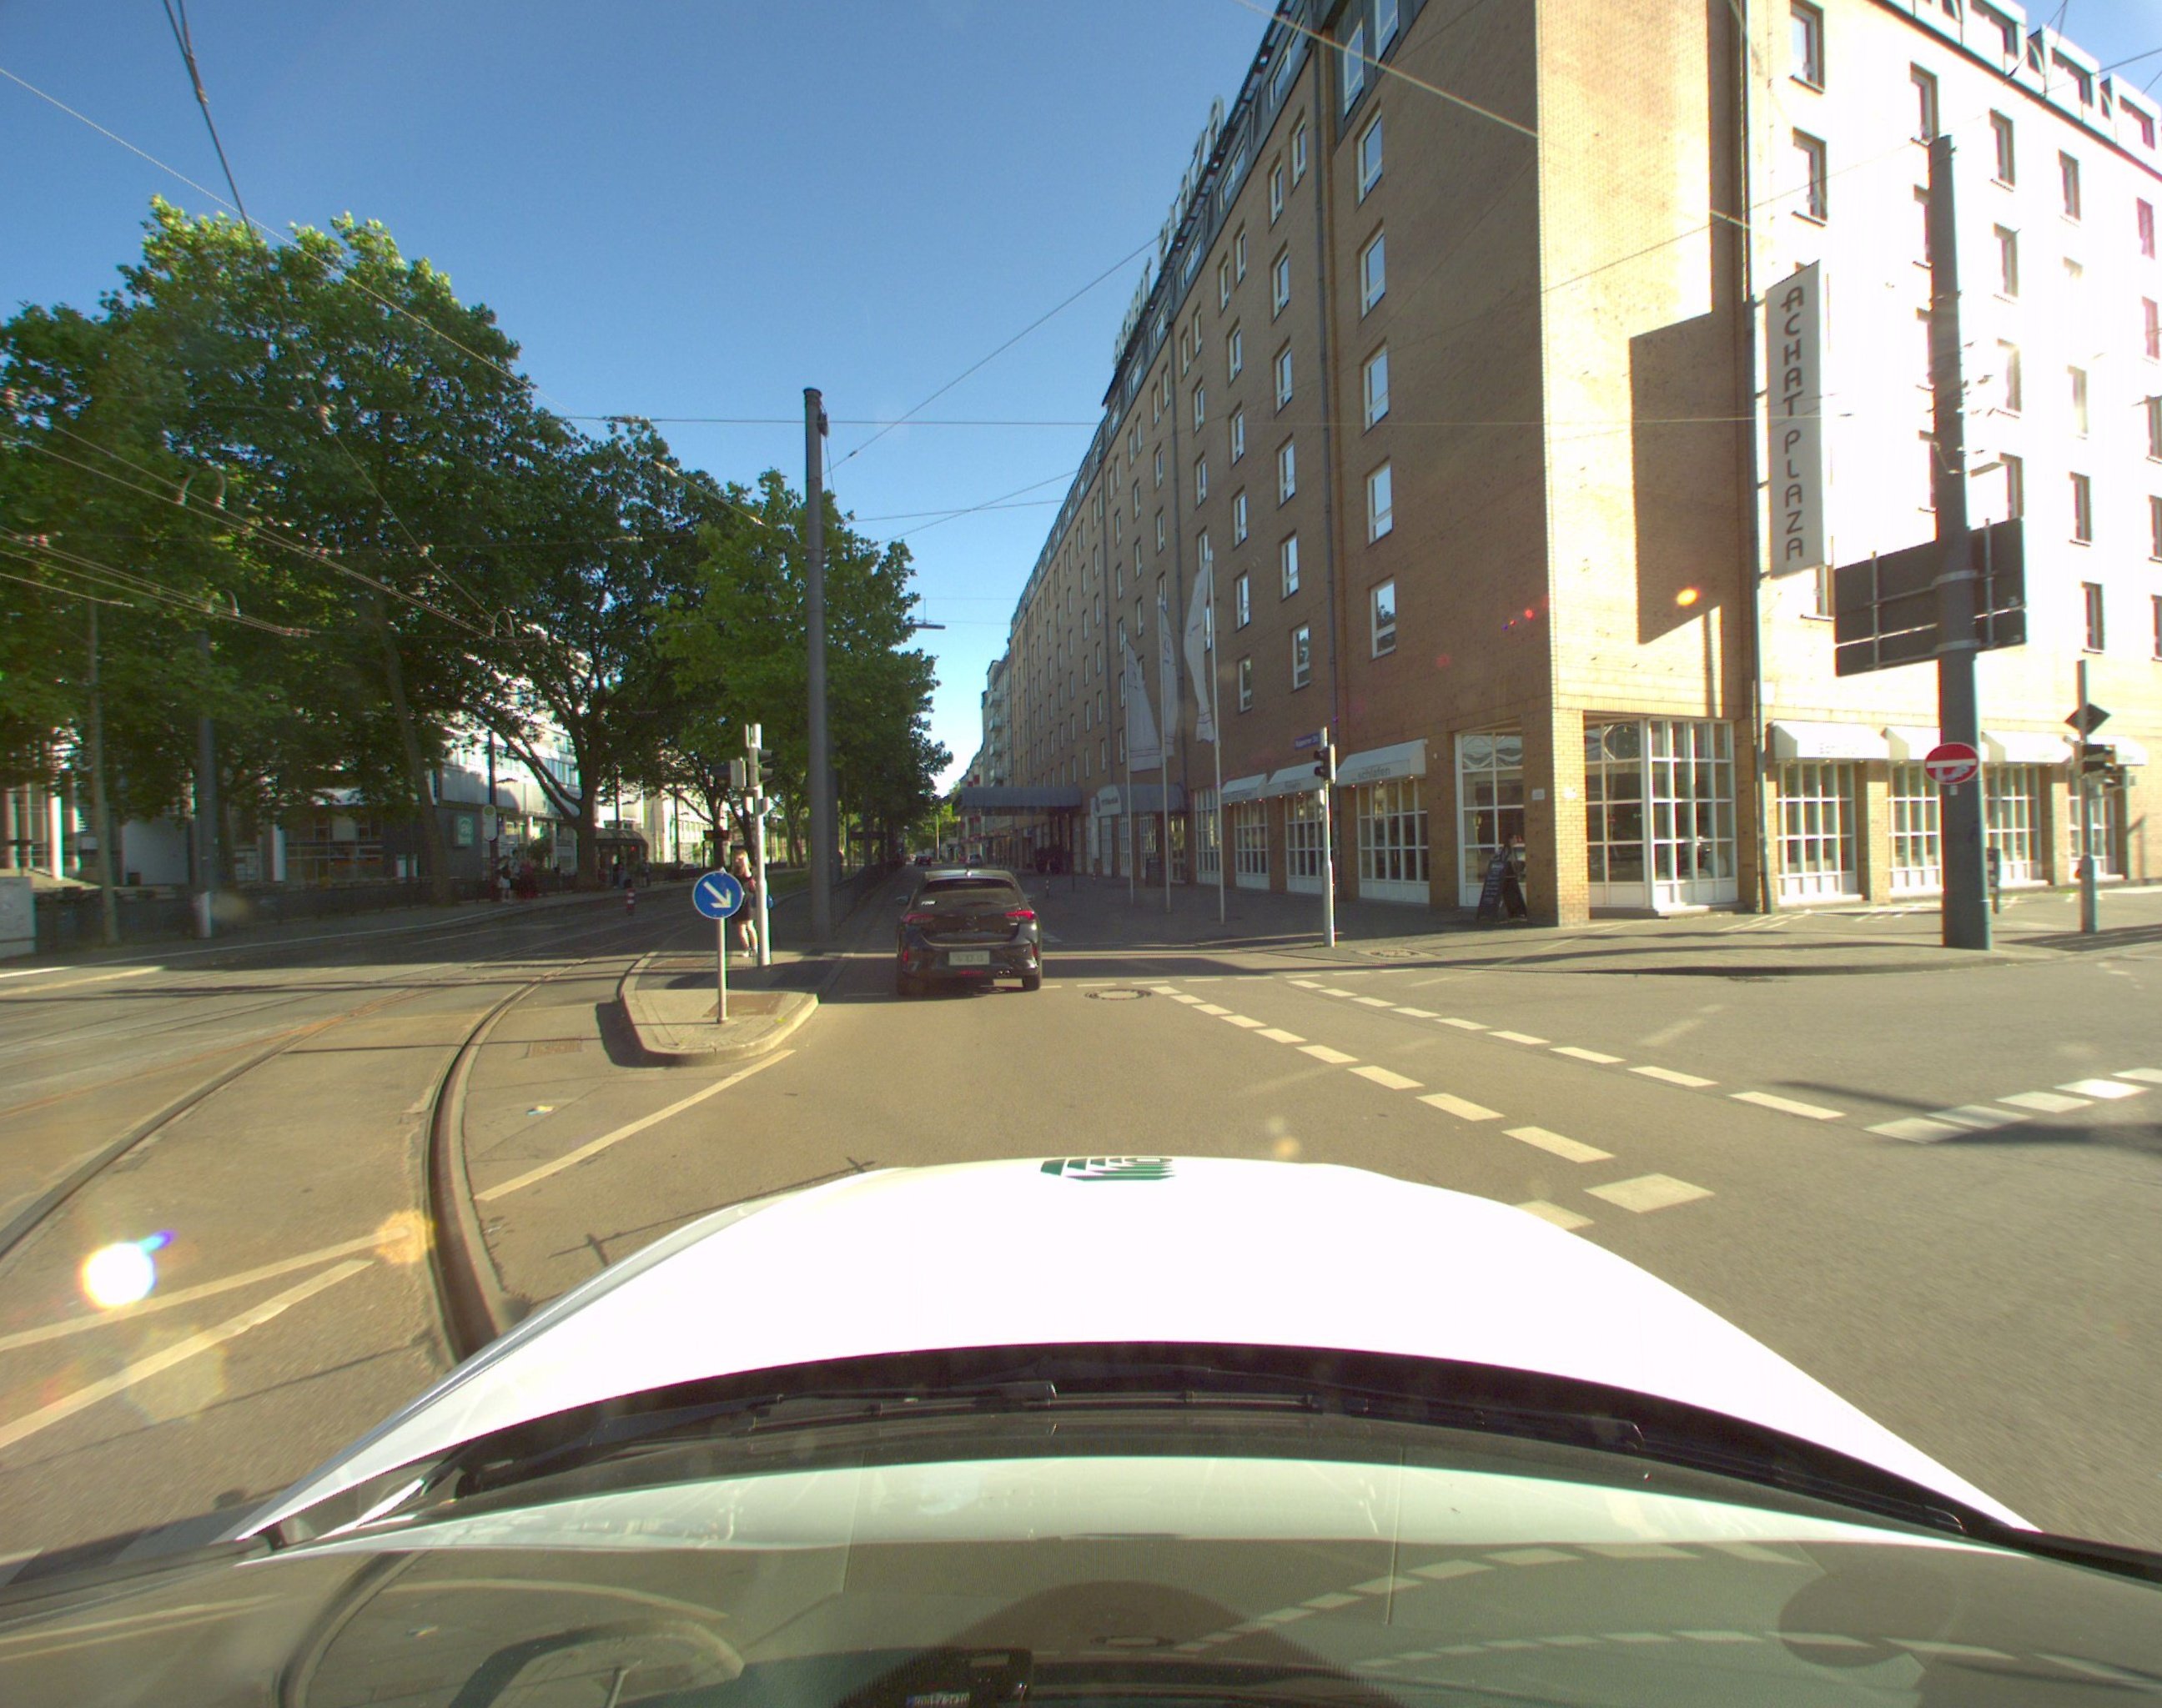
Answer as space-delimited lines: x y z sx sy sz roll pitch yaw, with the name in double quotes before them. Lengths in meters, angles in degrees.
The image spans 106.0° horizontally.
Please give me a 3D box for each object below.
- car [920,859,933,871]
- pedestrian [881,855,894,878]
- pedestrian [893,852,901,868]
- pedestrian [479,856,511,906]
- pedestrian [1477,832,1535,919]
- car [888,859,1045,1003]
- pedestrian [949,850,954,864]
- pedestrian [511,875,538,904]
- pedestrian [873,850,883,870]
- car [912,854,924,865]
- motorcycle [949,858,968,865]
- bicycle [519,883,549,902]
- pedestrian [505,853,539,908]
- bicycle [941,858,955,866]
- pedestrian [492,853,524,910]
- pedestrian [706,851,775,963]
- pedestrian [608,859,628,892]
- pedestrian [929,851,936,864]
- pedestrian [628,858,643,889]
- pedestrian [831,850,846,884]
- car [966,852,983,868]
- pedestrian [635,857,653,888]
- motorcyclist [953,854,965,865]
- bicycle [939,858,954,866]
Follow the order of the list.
"car" -19.670 1.384 103.663 1.615 1.501 3.675 0 0 -12
"pedestrian" -12.066 0.767 50.815 0.723 1.444 0.623 0 0 -15
"pedestrian" -17.072 0.532 75.568 0.723 1.444 0.623 0 0 -15
"pedestrian" -21.340 0.975 29.687 0.588 1.800 0.745 0 0 4
"pedestrian" 8.414 0.410 16.133 0.745 1.666 0.744 -1 0 -38
"car" -1.488 0.847 10.791 1.671 1.502 3.680 -2 0 -8
"pedestrian" -28.346 0.677 178.513 0.918 2.871 1.145 -1 0 -13
"pedestrian" -22.699 1.435 33.230 0.588 1.164 0.745 0 0 4
"pedestrian" -14.237 0.393 57.038 0.604 1.365 0.484 -2 0 -12
"car" -24.525 0.813 122.556 1.615 1.501 3.675 0 0 -12
"motorcycle" -18.347 1.131 121.619 1.316 1.058 3.061 -1 0 -41
"bicycle" -22.411 1.578 33.411 0.393 0.689 1.689 -1 0 -11
"pedestrian" -19.047 0.889 27.741 0.586 1.829 0.748 0 0 20
"bicycle" -21.942 1.302 134.322 2.355 1.234 0.681 0 0 -10
"pedestrian" -18.903 0.886 26.863 0.635 1.829 0.740 0 0 -17
"pedestrian" -5.362 0.811 12.871 0.712 1.680 0.830 -2 0 -3
"pedestrian" -22.510 1.054 39.609 0.479 1.573 0.676 1 2 31
"pedestrian" -33.750 0.875 184.891 1.157 2.871 0.908 -1 0 -45
"pedestrian" -22.916 0.986 41.901 0.501 1.573 0.493 0 1 -8
"pedestrian" -12.041 0.652 40.514 0.604 1.680 0.484 -2 0 -12
"car" -11.587 0.633 88.423 1.672 1.652 3.677 0 0 -11
"pedestrian" -22.826 0.976 42.498 0.561 1.573 0.639 0 1 0
"motorcyclist" -18.252 0.809 121.501 1.316 1.698 1.222 0 0 -42
"bicycle" -21.863 1.264 132.556 2.355 1.234 0.681 0 0 -10
